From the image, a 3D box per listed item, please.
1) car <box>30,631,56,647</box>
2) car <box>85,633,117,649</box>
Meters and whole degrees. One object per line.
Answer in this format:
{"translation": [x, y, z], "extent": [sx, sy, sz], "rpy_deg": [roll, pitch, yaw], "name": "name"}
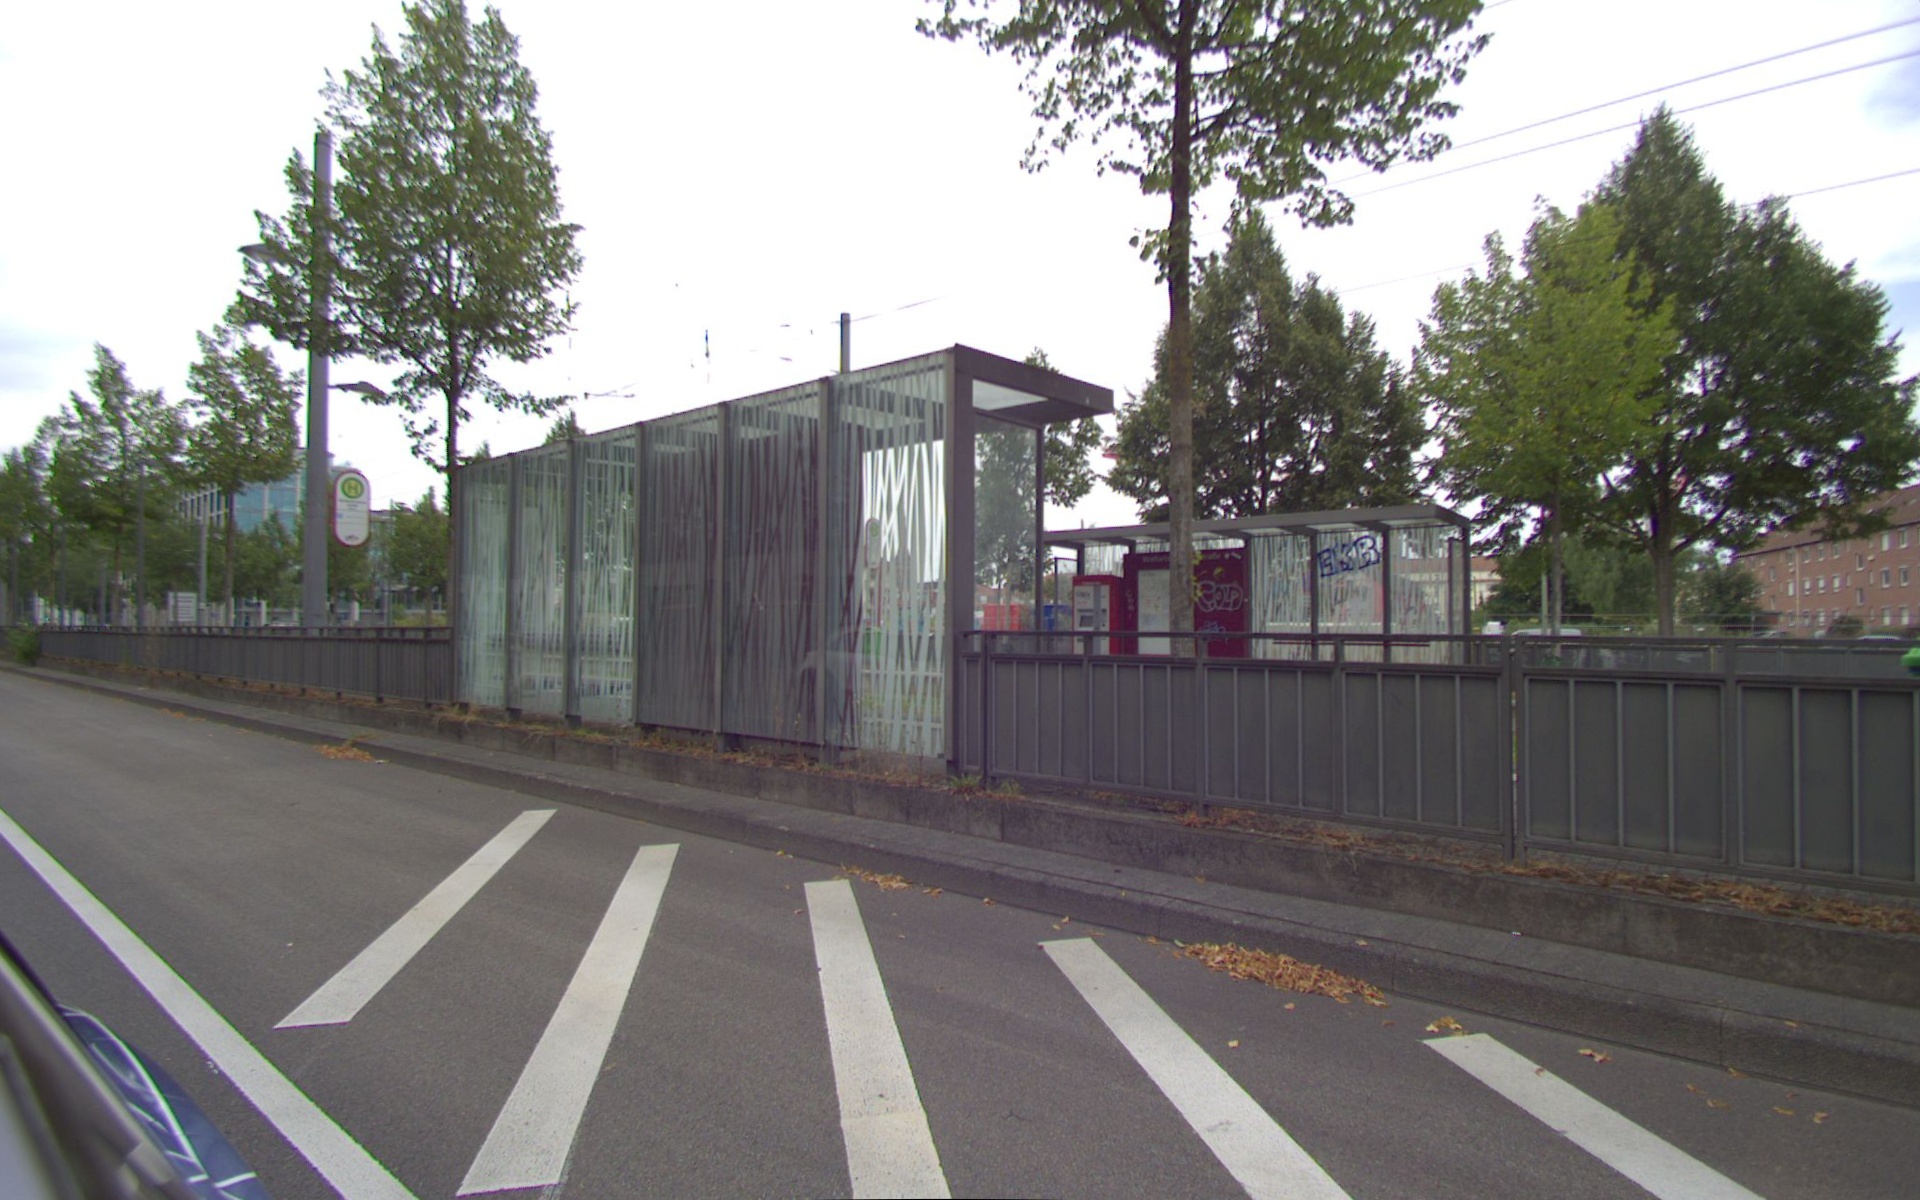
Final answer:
{"translation": [-120.297, 5.104, 132.768], "extent": [5.092, 1.959, 1.973], "rpy_deg": [-2, -2, 40], "name": "car"}
{"translation": [-93.376, 4.484, 110.032], "extent": [4.686, 1.669, 1.809], "rpy_deg": [-2, -3, 39], "name": "car"}
